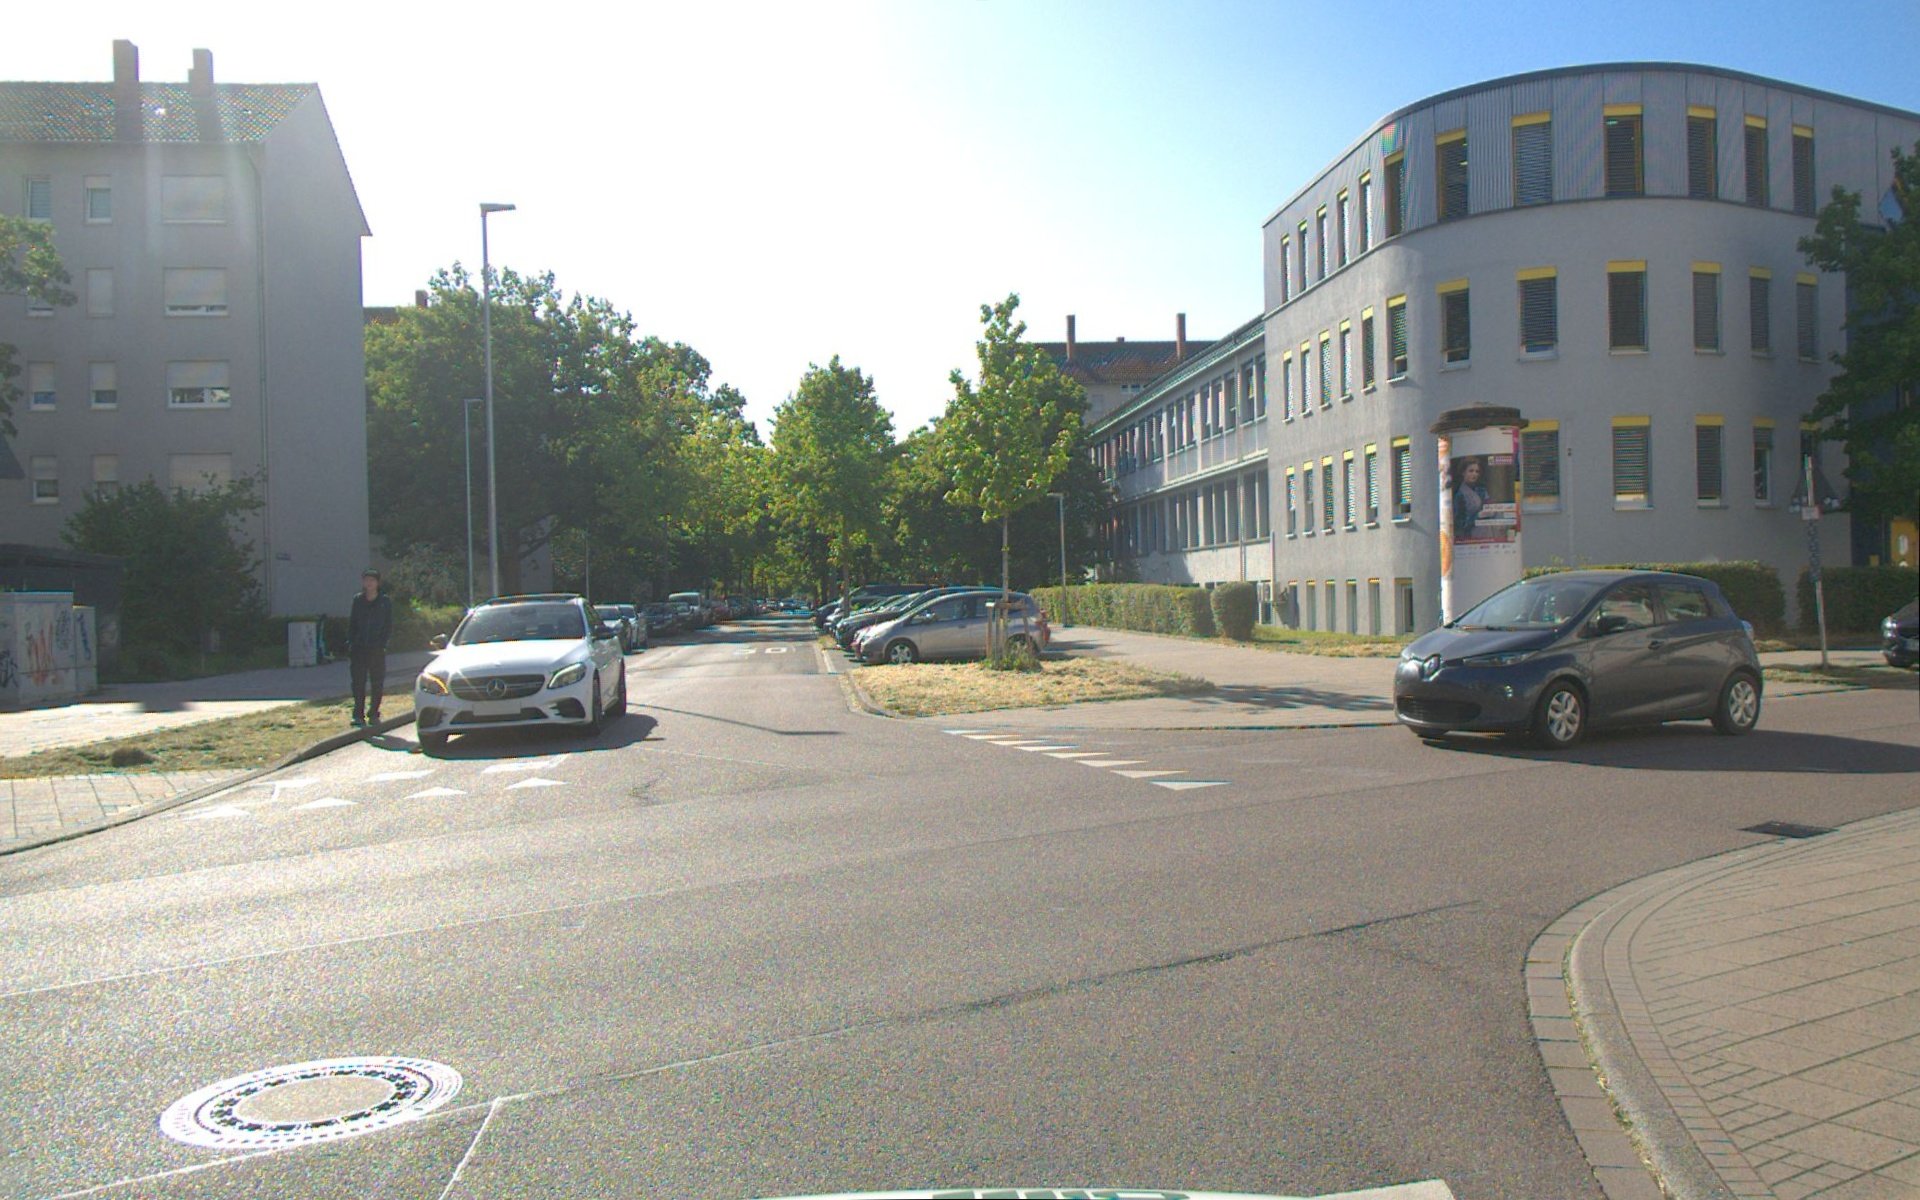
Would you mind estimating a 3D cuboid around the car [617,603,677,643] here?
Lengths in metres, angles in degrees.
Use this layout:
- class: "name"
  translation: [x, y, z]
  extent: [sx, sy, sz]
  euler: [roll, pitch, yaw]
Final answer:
- class: "car"
  translation: [-11.861, 0.871, 62.903]
  extent: [1.807, 1.422, 3.996]
  euler: [-1, 0, -5]

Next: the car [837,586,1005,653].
- class: "car"
  translation: [-1.034, 0.502, 42.215]
  extent: [4.124, 1.624, 1.997]
  euler: [1, -1, -7]

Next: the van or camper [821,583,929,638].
- class: "van or camper"
  translation: [-3.250, 0.391, 62.714]
  extent: [3.911, 1.802, 1.997]
  euler: [-4, 0, -6]

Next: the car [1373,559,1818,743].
- class: "car"
  translation: [6.016, 0.418, 15.570]
  extent: [4.083, 1.530, 1.823]
  euler: [0, 0, -31]

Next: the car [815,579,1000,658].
- class: "car"
  translation: [-1.290, 0.442, 39.351]
  extent: [4.198, 1.795, 1.996]
  euler: [1, -1, -8]

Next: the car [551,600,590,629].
- class: "car"
  translation: [-17.631, 0.632, 74.869]
  extent: [1.248, 1.246, 2.661]
  euler: [-2, 1, -3]

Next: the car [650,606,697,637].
- class: "car"
  translation: [-13.694, 1.008, 79.287]
  extent: [1.807, 1.422, 3.996]
  euler: [-1, 0, -5]

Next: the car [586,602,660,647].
- class: "car"
  translation: [-11.286, 0.809, 55.603]
  extent: [1.954, 1.422, 3.996]
  euler: [-1, 0, -5]

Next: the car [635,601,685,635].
- class: "car"
  translation: [-12.933, 0.776, 71.479]
  extent: [1.956, 1.432, 3.901]
  euler: [1, -1, -8]

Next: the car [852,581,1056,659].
- class: "car"
  translation: [-0.160, 0.399, 34.217]
  extent: [4.012, 1.518, 1.725]
  euler: [-1, -1, -9]

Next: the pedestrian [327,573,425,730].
- class: "pedestrian"
  translation: [-6.728, 0.579, 19.109]
  extent: [0.854, 1.744, 0.977]
  euler: [-1, 0, -9]

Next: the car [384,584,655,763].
- class: "car"
  translation: [-4.635, 0.677, 18.141]
  extent: [1.848, 1.530, 4.636]
  euler: [-4, 1, -3]

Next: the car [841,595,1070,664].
- class: "car"
  translation: [-0.134, 0.626, 36.264]
  extent: [4.781, 1.296, 1.725]
  euler: [-2, 0, -10]

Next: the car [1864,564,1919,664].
- class: "car"
  translation: [15.577, 0.152, 24.820]
  extent: [4.171, 1.435, 1.774]
  euler: [-2, 1, -33]

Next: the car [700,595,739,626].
- class: "car"
  translation: [-16.369, 0.729, 112.711]
  extent: [1.952, 2.049, 4.001]
  euler: [1, -1, 2]

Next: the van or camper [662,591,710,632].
- class: "van or camper"
  translation: [-14.098, 0.613, 85.402]
  extent: [1.954, 2.049, 3.997]
  euler: [1, -1, -3]

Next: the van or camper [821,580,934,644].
- class: "van or camper"
  translation: [-3.014, 0.436, 59.843]
  extent: [3.911, 2.048, 1.997]
  euler: [-4, 0, -6]

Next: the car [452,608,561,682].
- class: "car"
  translation: [-9.481, 0.914, 34.856]
  extent: [1.635, 1.445, 3.993]
  euler: [1, -1, -7]

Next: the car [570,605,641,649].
- class: "car"
  translation: [-10.701, 0.806, 50.141]
  extent: [1.597, 1.255, 4.188]
  euler: [1, -1, -5]

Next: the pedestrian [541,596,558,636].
- class: "pedestrian"
  translation: [-17.822, 0.697, 71.849]
  extent: [0.622, 1.693, 0.698]
  euler: [-1, 0, -11]
